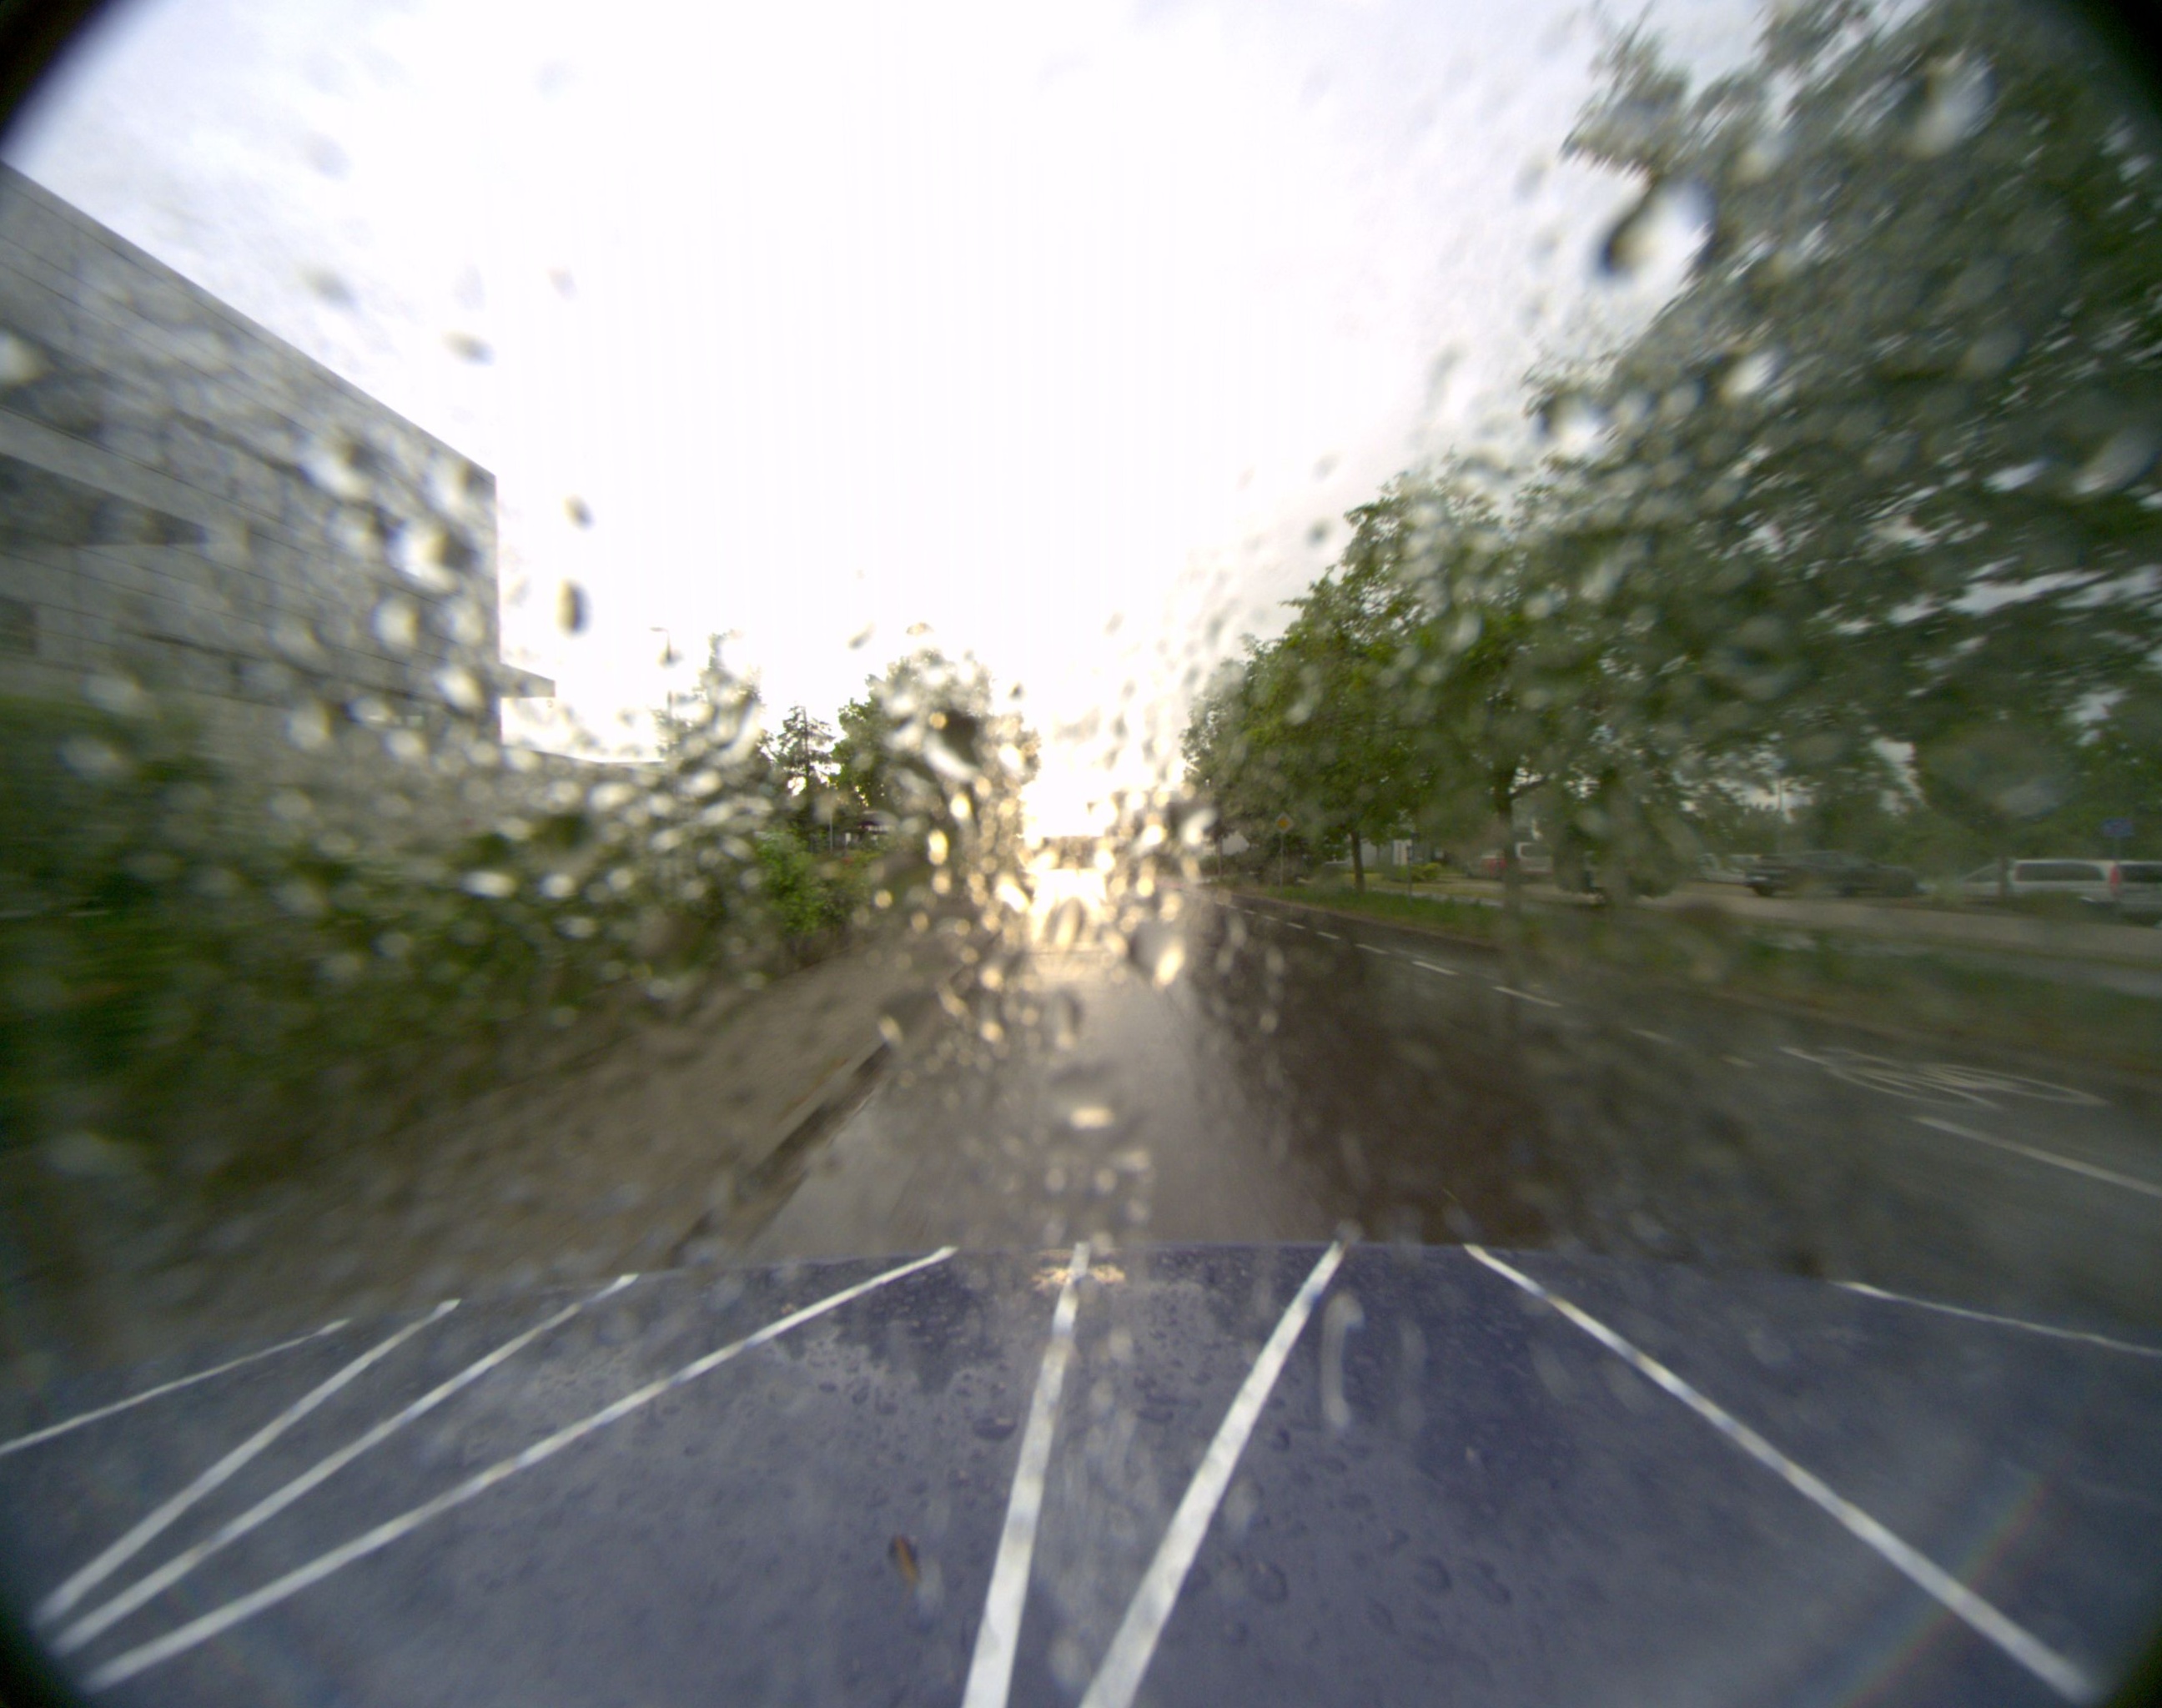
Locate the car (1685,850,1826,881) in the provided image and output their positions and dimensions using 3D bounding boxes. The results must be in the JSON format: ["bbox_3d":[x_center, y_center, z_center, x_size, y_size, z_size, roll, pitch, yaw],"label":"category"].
[{"bbox_3d":[29.470,0.485,33.442,1.986,1.222,4.657,-2,-1,-1],"label":"car"}]

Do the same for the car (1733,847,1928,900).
[{"bbox_3d":[24.486,0.615,24.992,4.162,1.547,2.122,-1,1,6],"label":"car"}]

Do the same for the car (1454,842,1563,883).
[{"bbox_3d":[20.670,0.424,37.122,2.039,1.811,5.609,-2,-1,-1],"label":"car"}]

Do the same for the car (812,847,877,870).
[{"bbox_3d":[-15.924,0.284,51.291,3.891,1.490,1.768,0,0,-2],"label":"car"}]

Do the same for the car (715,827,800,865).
[{"bbox_3d":[-21.853,-0.517,51.480,4.912,2.423,2.001,0,0,6],"label":"car"}]

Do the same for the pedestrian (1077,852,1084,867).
[{"bbox_3d":[-0.051,0.662,91.528,0.747,1.827,0.889,0,0,-8],"label":"pedestrian"}]
